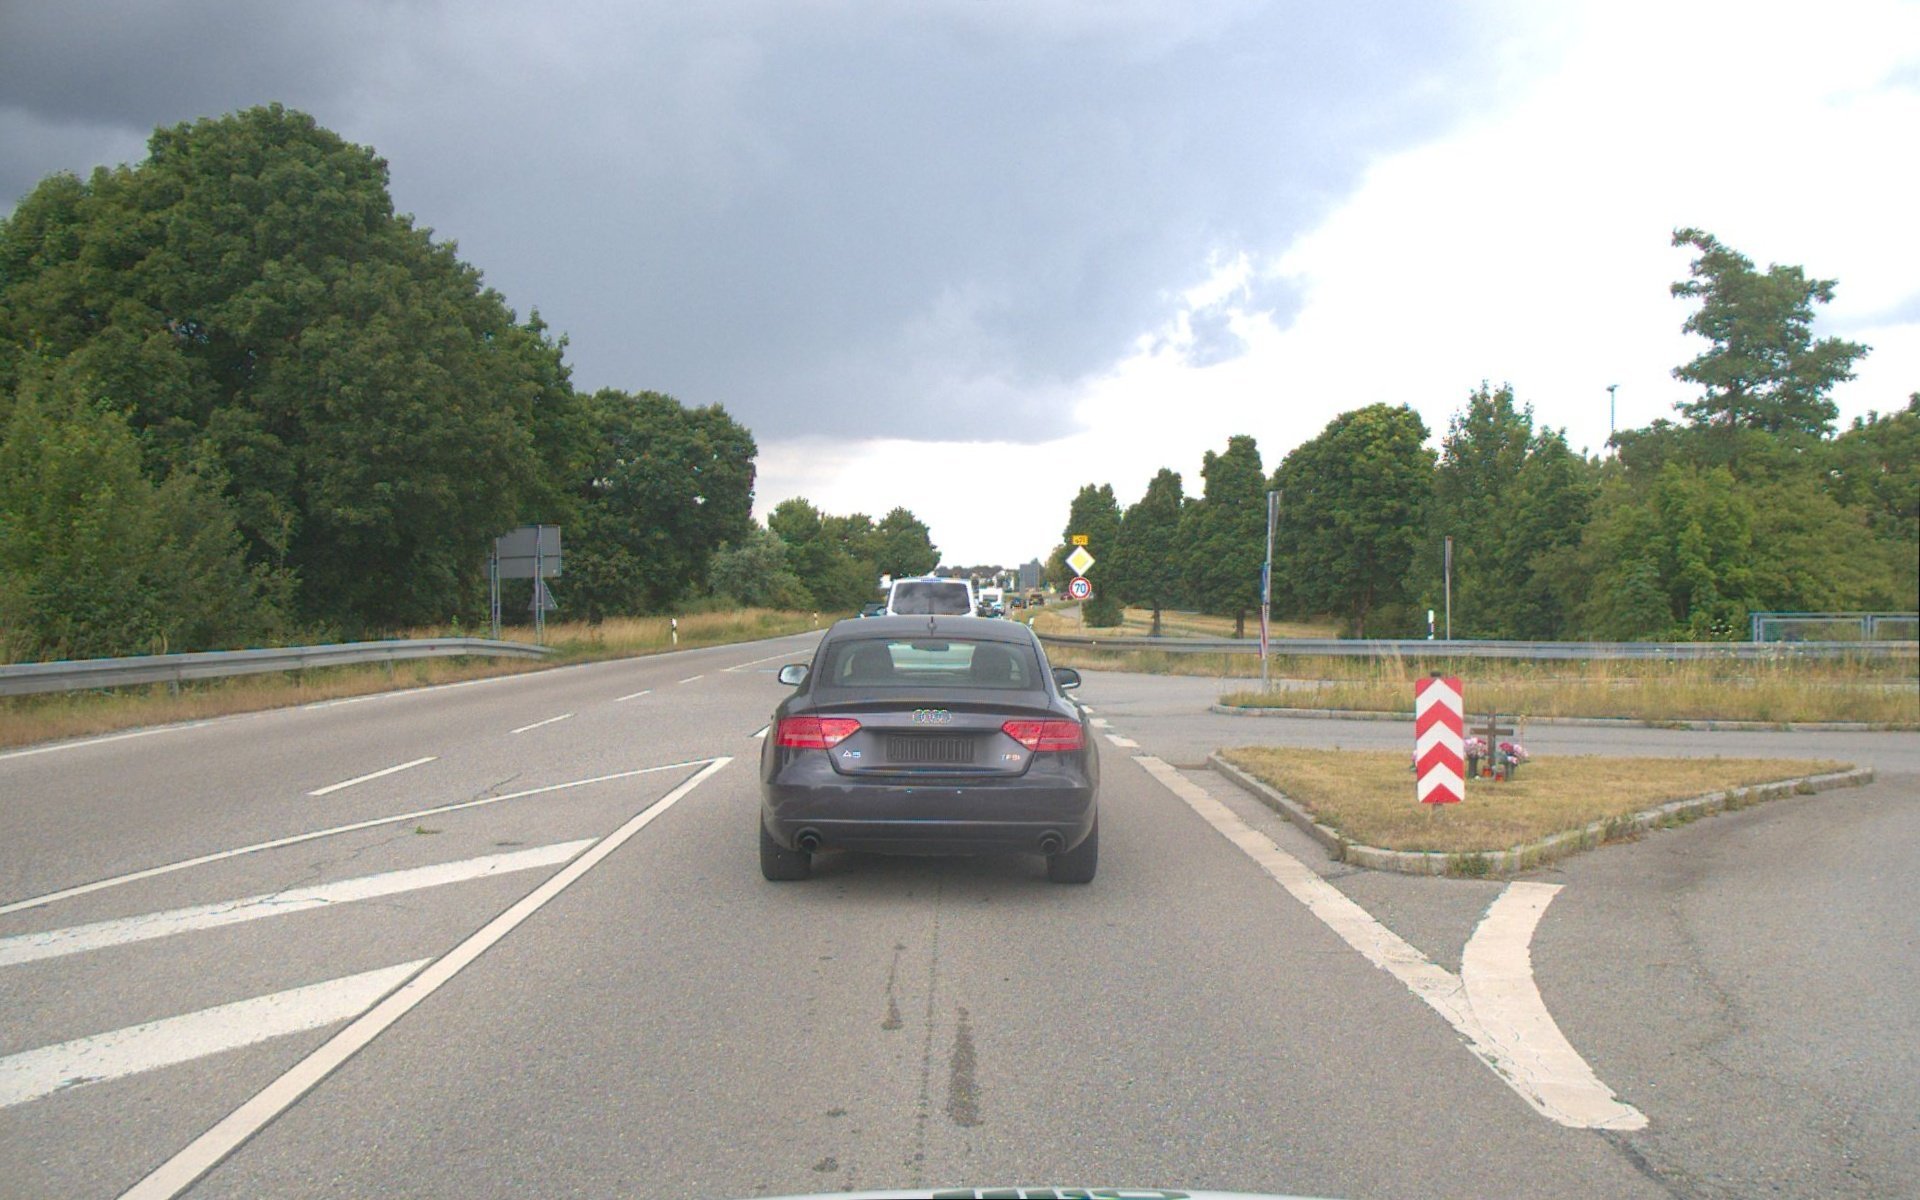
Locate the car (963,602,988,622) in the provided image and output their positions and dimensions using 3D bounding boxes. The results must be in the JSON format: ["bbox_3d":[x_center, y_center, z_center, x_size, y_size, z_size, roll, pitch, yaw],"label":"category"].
[{"bbox_3d":[1.270,0.956,131.071,1.699,1.541,3.749,0,0,5],"label":"car"}]

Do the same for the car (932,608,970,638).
[{"bbox_3d":[-0.456,1.186,85.769,1.758,1.490,3.249,0,0,3],"label":"car"}]

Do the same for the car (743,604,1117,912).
[{"bbox_3d":[-0.169,0.752,9.795,1.746,1.400,3.999,1,0,-1],"label":"car"}]

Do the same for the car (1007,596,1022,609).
[{"bbox_3d":[6.655,0.296,200.517,1.683,1.477,4.000,1,0,0],"label":"car"}]

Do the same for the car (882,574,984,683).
[{"bbox_3d":[-0.514,0.496,31.503,1.801,1.915,3.999,1,0,-1],"label":"car"}]

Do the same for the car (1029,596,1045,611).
[{"bbox_3d":[10.594,0.489,227.620,1.953,2.049,3.999,0,0,-1],"label":"car"}]

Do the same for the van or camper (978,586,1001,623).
[{"bbox_3d":[2.911,0.459,162.555,2.292,3.542,5.719,0,0,1],"label":"van or camper"}]

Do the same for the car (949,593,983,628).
[{"bbox_3d":[0.386,0.640,100.924,1.952,2.125,4.001,0,0,2],"label":"car"}]

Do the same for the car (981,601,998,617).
[{"bbox_3d":[2.545,0.791,144.318,1.231,1.377,3.468,0,0,5],"label":"car"}]

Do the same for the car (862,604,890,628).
[{"bbox_3d":[-5.454,1.039,107.997,1.676,1.549,3.999,0,0,-1],"label":"car"}]
